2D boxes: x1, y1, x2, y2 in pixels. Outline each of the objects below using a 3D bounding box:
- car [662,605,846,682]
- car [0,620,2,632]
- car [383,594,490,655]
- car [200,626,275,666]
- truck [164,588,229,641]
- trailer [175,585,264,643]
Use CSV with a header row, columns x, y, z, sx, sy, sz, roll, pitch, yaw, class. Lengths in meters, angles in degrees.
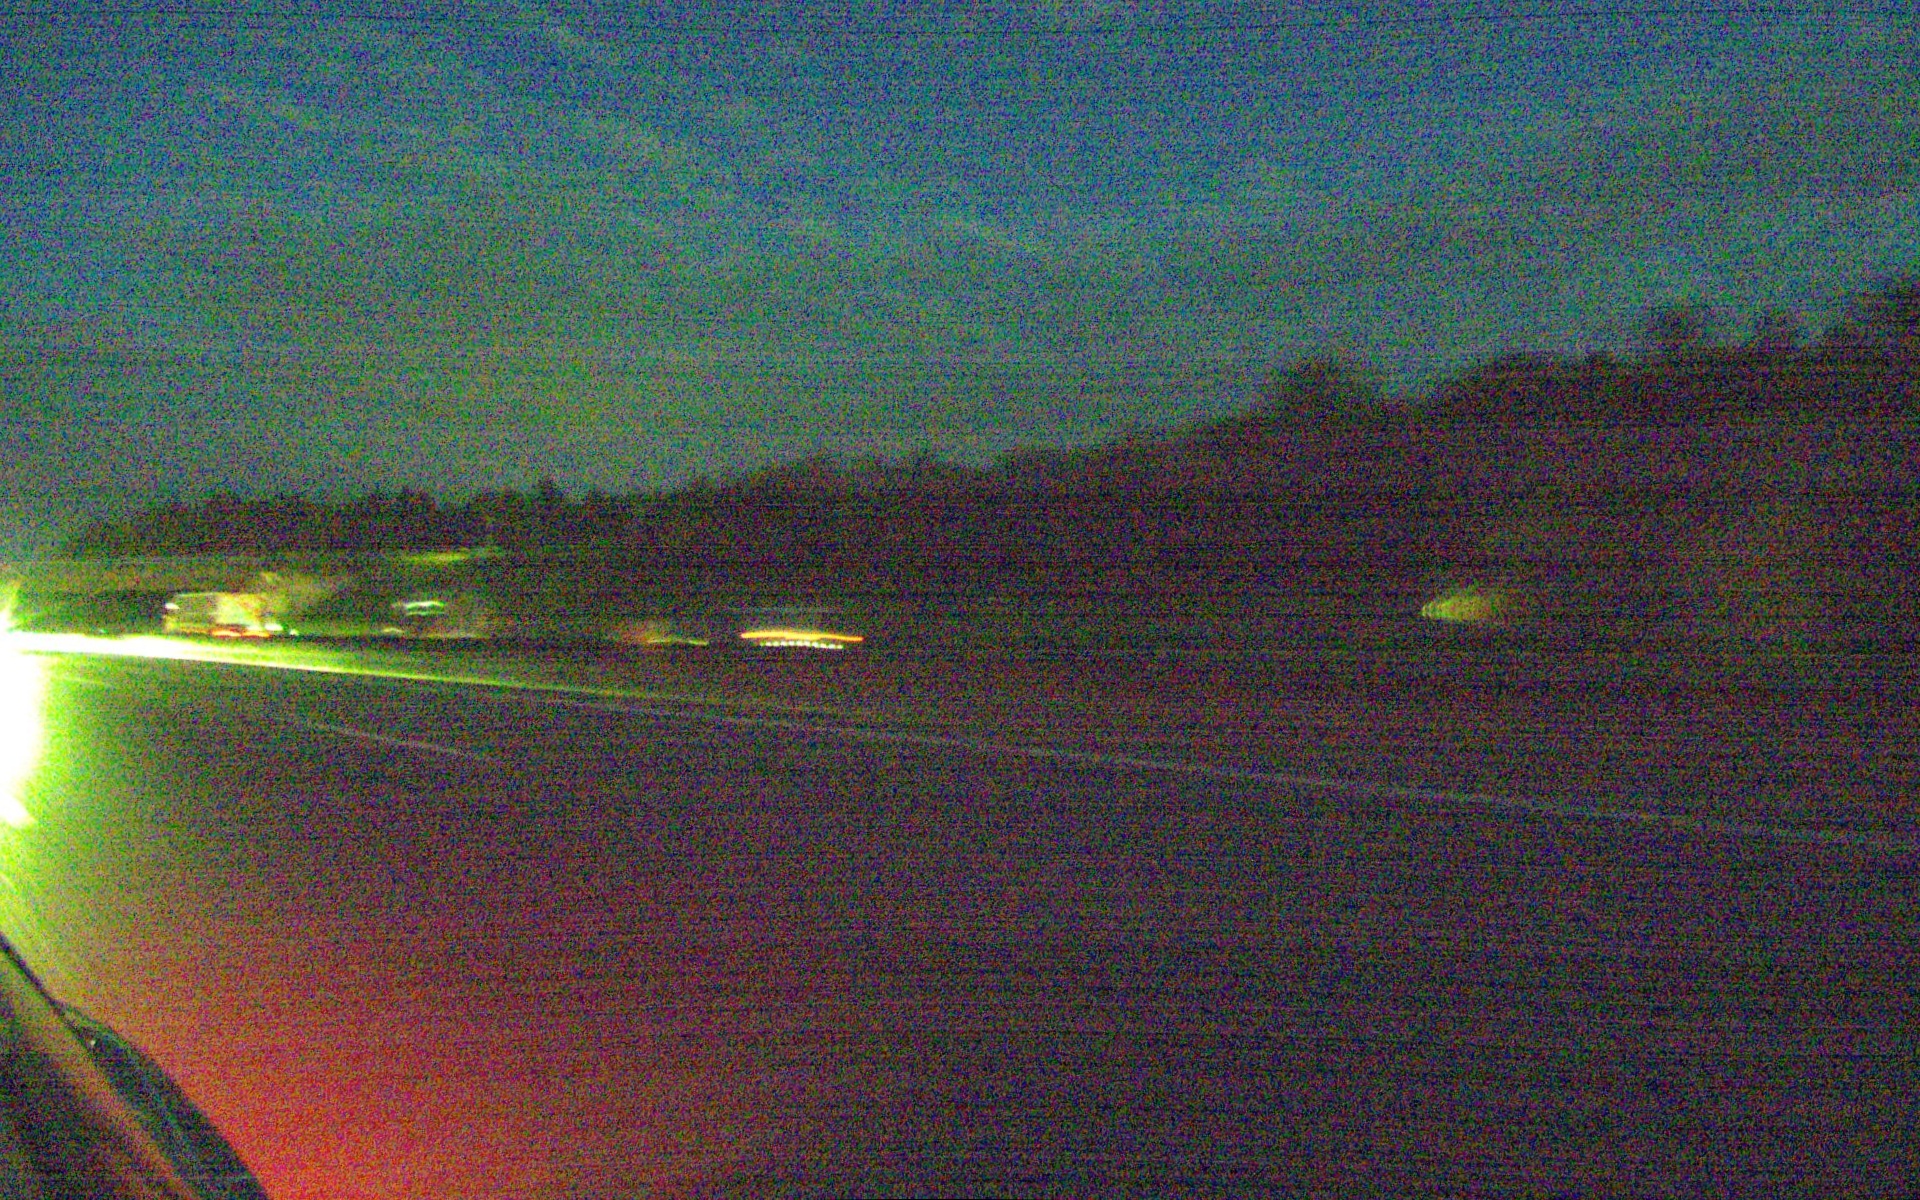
x,y,z,sx,sy,sz,roll,pitch,yaw,class
-6.167,1.221,29.836,5.739,2.029,2.309,-1,-1,41,car
-171.533,4.619,179.281,4.650,2.115,2.111,-1,-1,40,car
-27.812,1.271,53.581,7.134,3.052,2.467,-1,-1,40,car
-37.946,2.367,53.129,4.738,1.970,2.174,-1,-1,41,car
-63.784,1.247,84.497,6.745,4.265,3.024,-2,-1,42,truck
-58.611,1.137,79.876,13.035,4.265,3.024,-1,-1,42,trailer
